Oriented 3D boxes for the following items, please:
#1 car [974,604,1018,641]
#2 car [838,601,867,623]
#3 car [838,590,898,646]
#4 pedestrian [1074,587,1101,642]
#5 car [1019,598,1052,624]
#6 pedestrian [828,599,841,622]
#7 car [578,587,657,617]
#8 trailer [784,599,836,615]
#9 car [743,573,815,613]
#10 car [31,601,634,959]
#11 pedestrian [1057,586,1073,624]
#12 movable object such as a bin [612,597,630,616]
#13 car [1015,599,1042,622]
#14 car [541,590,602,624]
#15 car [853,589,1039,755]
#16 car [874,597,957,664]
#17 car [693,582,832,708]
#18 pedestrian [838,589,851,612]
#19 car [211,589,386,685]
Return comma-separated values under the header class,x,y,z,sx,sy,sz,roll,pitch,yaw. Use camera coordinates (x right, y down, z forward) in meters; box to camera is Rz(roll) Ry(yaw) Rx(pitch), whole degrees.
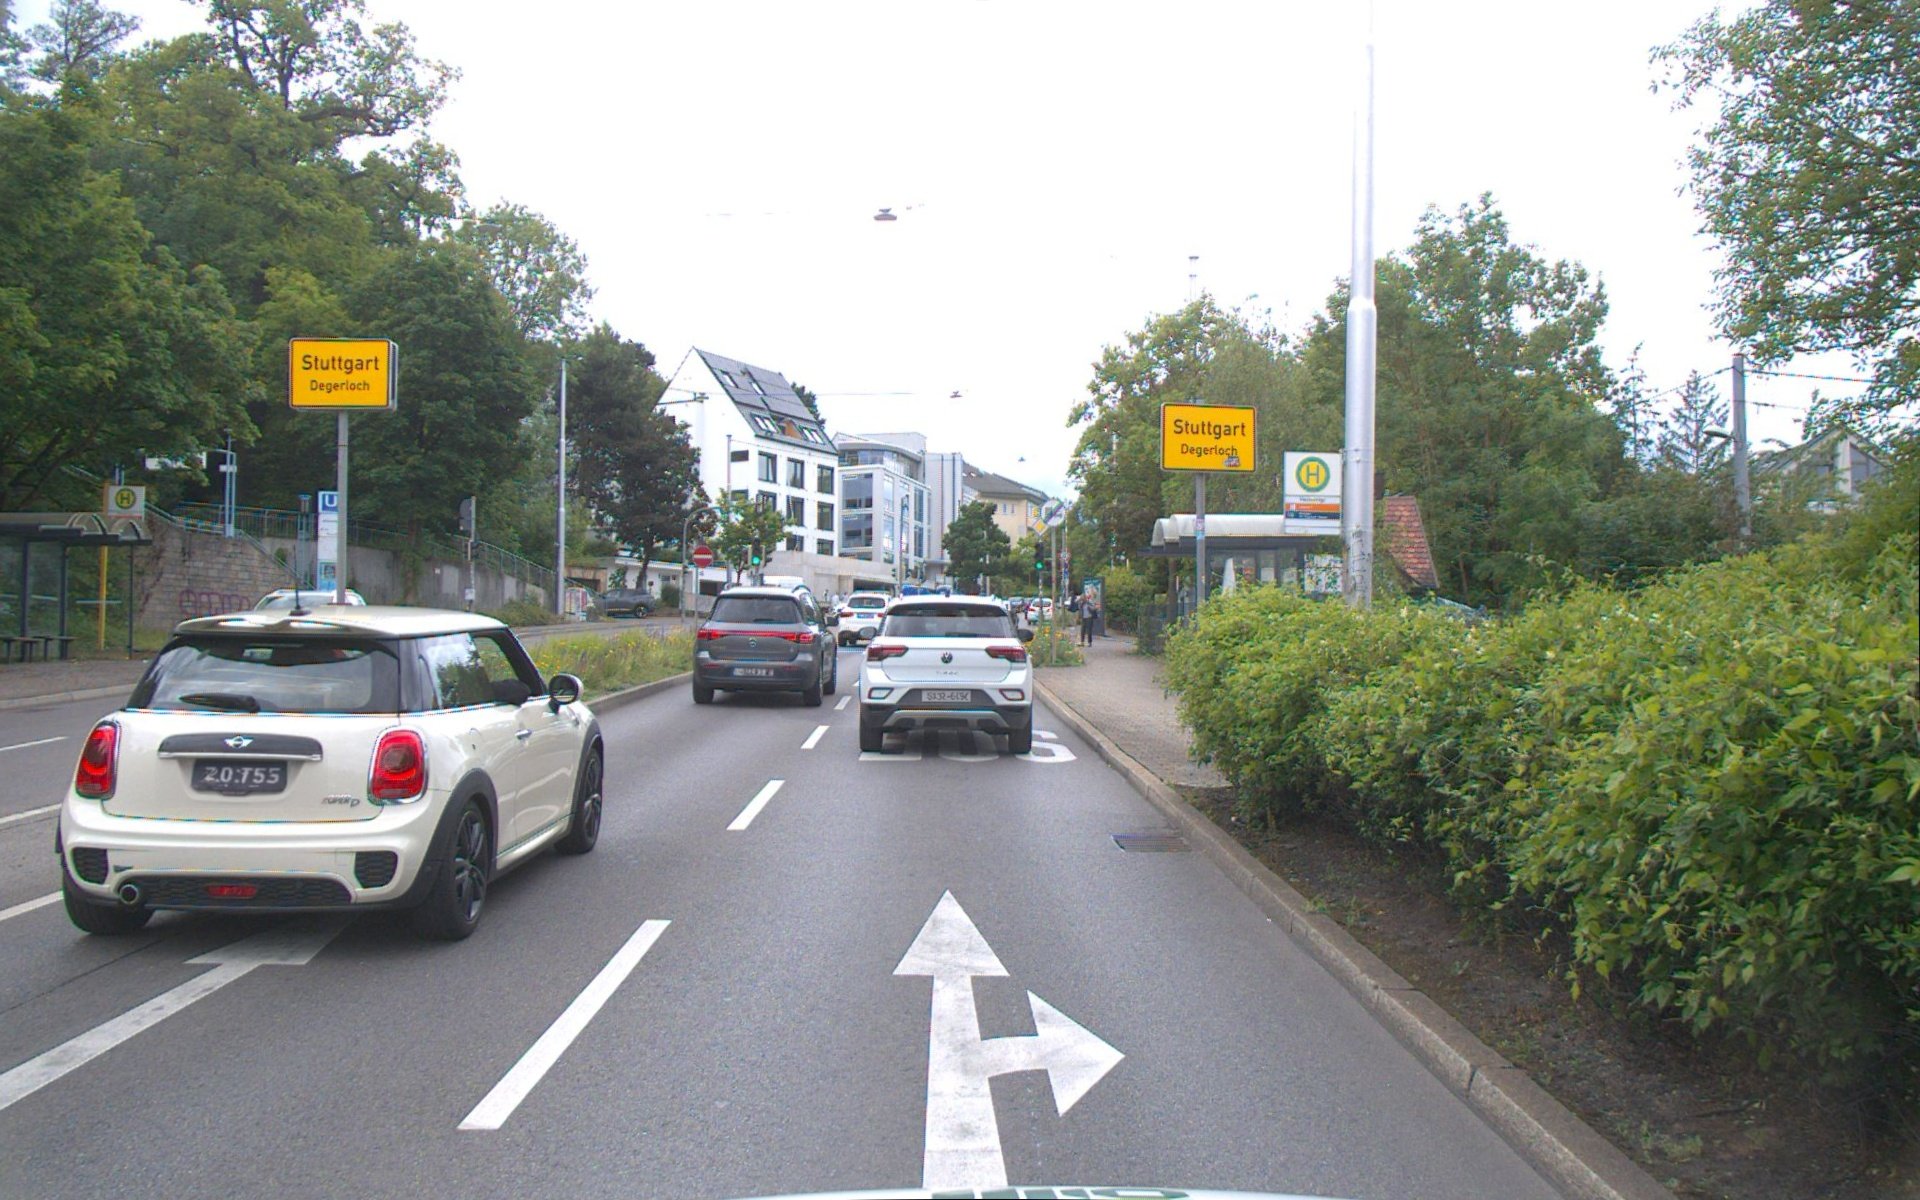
class,x,y,z,sx,sy,sz,roll,pitch,yaw
car,1.572,0.981,74.182,1.835,1.527,4.555,3,0,1
car,-6.938,0.750,107.080,1.683,1.418,4.608,0,0,-1
car,-2.898,0.554,52.872,1.821,1.681,4.634,0,0,-2
pedestrian,4.010,0.453,51.994,0.679,1.718,0.620,-1,-1,21
car,4.458,0.639,97.657,1.819,1.527,4.056,0,0,1
pedestrian,-9.197,0.775,121.351,0.667,1.669,0.664,2,0,-33
car,-18.131,0.091,87.491,4.051,1.567,1.592,0,0,-15
trailer,-10.531,0.492,116.309,2.199,1.131,4.626,0,0,15
car,-12.019,-0.449,110.479,2.184,2.613,7.427,0,0,15
car,-2.865,0.725,8.398,1.594,1.418,3.567,0,0,2
pedestrian,5.262,0.254,82.821,0.678,1.866,0.620,2,0,7
movable object such as a bin,-19.402,0.371,94.659,0.628,1.029,0.727,2,-1,35
car,4.804,0.713,115.270,1.819,1.527,4.057,0,0,3
car,-19.446,0.343,82.816,2.667,1.547,1.552,4,-1,-24
car,-0.201,0.684,17.613,1.775,1.566,3.688,0,0,-2
car,-1.197,0.746,42.791,1.837,1.527,4.551,3,0,-5
car,-2.853,0.606,24.716,1.777,1.681,4.633,0,0,-4
pedestrian,-8.695,0.058,124.246,0.667,1.669,0.664,2,0,-33
car,-11.634,0.608,29.357,1.695,1.568,4.040,1,0,-4
